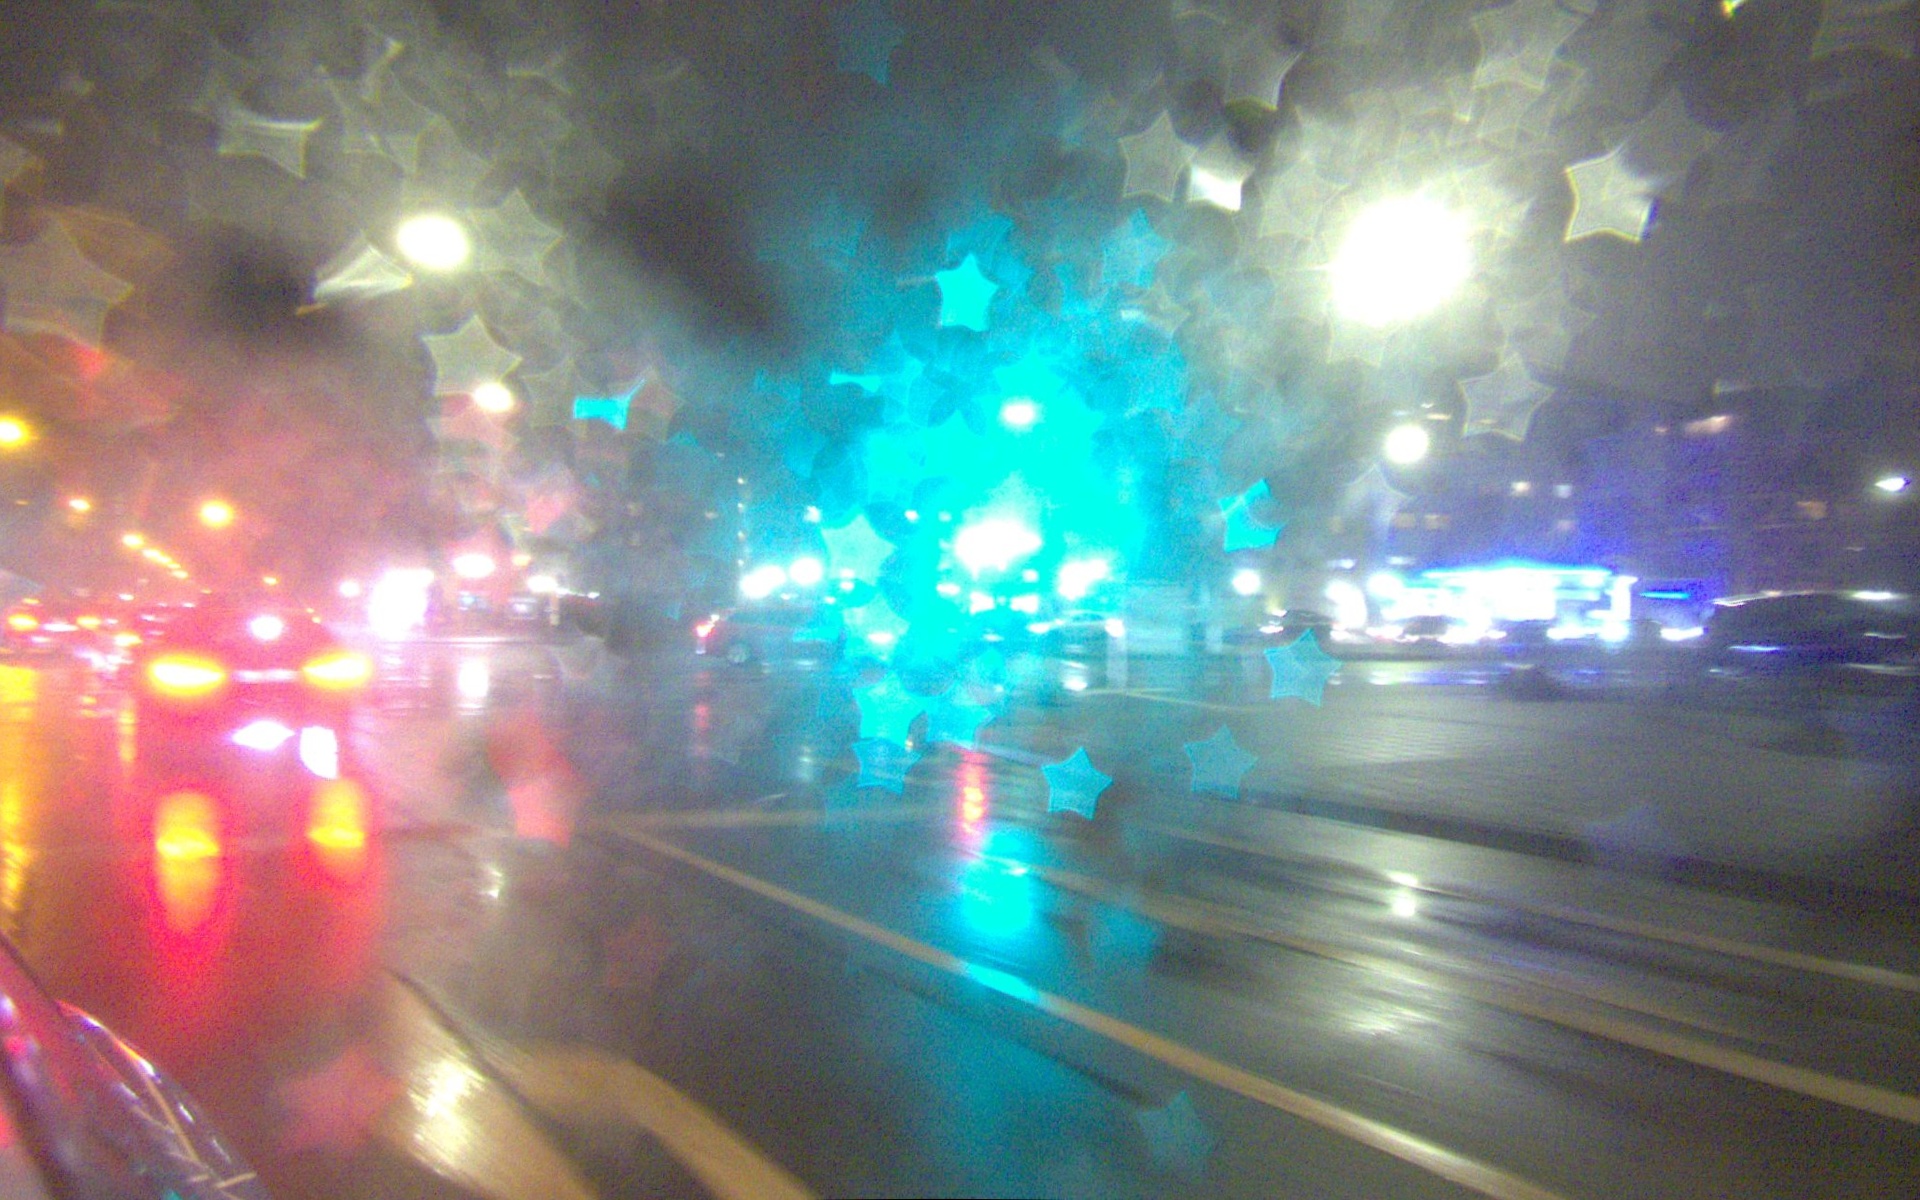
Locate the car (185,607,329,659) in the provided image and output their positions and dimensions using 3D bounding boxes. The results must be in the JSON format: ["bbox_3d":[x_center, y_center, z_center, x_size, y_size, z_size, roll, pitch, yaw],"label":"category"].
[{"bbox_3d":[-21.252,0.955,30.526,5.057,1.436,1.976,0,-1,35],"label":"car"}]

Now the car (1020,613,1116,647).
[{"bbox_3d":[5.152,1.408,48.312,4.149,1.578,1.855,1,-1,-16],"label":"car"}]

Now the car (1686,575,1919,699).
[{"bbox_3d":[13.875,0.587,15.717,1.671,1.741,4.012,2,-2,-17],"label":"car"}]

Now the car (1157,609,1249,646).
[{"bbox_3d":[11.973,1.361,49.995,3.933,1.785,2.005,1,-1,-14],"label":"car"}]

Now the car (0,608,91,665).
[{"bbox_3d":[-24.928,0.940,27.188,4.201,1.436,1.604,0,-1,38],"label":"car"}]

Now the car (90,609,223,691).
[{"bbox_3d":[-15.810,0.905,19.836,1.800,1.436,4.212,1,-1,-42],"label":"car"}]

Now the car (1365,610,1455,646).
[{"bbox_3d":[23.624,1.460,53.176,3.934,1.852,1.859,0,-1,-12],"label":"car"}]

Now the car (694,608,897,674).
[{"bbox_3d":[-4.013,0.997,25.213,4.667,1.436,1.999,2,-1,2],"label":"car"}]

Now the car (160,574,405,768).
[{"bbox_3d":[-7.837,0.689,11.522,1.783,1.783,4.278,1,-1,-41],"label":"car"}]
